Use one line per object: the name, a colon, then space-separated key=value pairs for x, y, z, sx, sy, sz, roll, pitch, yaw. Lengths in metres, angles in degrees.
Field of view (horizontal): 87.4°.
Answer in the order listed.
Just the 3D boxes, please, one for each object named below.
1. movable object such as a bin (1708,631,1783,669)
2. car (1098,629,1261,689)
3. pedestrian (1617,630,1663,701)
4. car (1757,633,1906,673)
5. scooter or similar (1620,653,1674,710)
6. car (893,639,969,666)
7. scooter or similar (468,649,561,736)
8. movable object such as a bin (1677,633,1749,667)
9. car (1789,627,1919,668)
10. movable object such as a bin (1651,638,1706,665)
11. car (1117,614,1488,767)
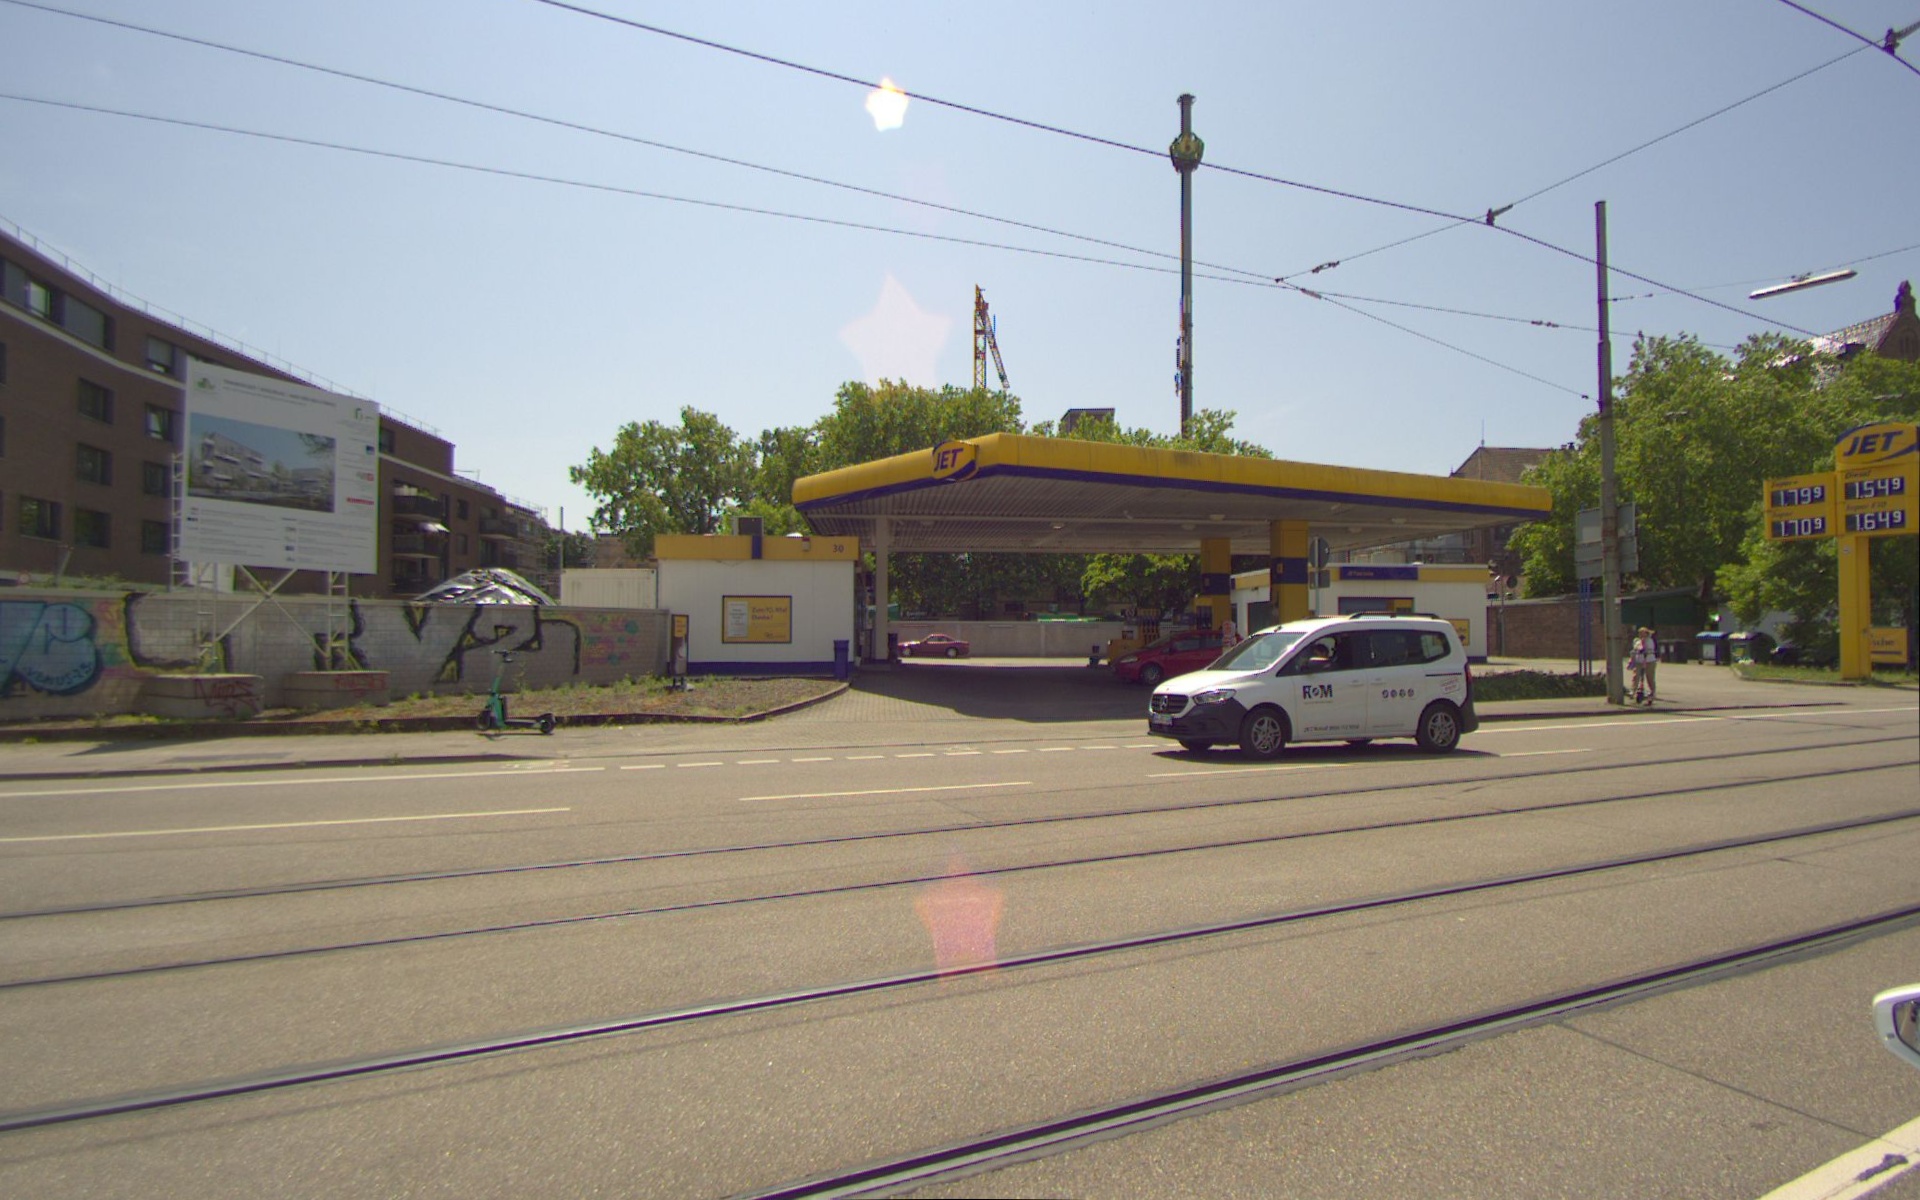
movable object such as a bin: x=33.429 y=2.130 z=42.775 sx=2.059 sy=1.529 sz=1.525 roll=1 pitch=-1 yaw=-4
car: x=6.135 y=1.622 z=28.287 sx=4.120 sy=1.525 sz=1.830 roll=-1 pitch=0 yaw=-6
pedestrian: x=16.659 y=1.594 z=24.610 sx=0.711 sy=1.713 sz=0.624 roll=1 pitch=-2 yaw=-19
car: x=36.861 y=2.223 z=42.598 sx=4.360 sy=1.508 sz=1.937 roll=1 pitch=-1 yaw=11
scooter or similar: x=15.542 y=1.832 z=22.712 sx=1.361 sy=1.216 sz=0.516 roll=1 pitch=-1 yaw=-32
car: x=-1.602 y=2.886 z=55.587 sx=4.158 sy=1.428 sz=1.720 roll=0 pitch=-2 yaw=-3
scooter or similar: x=-6.714 y=1.395 z=15.158 sx=1.218 sy=1.281 sz=0.345 roll=1 pitch=0 yaw=-4
movable object such as a bin: x=33.288 y=2.212 z=44.455 sx=2.059 sy=1.451 sz=1.525 roll=1 pitch=-1 yaw=-4
car: x=36.178 y=1.887 z=40.079 sx=4.361 sy=1.508 sz=1.937 roll=1 pitch=-1 yaw=11
movable object such as a bin: x=32.982 y=2.351 z=46.125 sx=1.534 sy=1.153 sz=1.408 roll=1 pitch=-1 yaw=-4
car: x=4.597 y=1.135 z=13.621 sx=4.480 sy=1.823 sz=1.993 roll=1 pitch=-2 yaw=-18
